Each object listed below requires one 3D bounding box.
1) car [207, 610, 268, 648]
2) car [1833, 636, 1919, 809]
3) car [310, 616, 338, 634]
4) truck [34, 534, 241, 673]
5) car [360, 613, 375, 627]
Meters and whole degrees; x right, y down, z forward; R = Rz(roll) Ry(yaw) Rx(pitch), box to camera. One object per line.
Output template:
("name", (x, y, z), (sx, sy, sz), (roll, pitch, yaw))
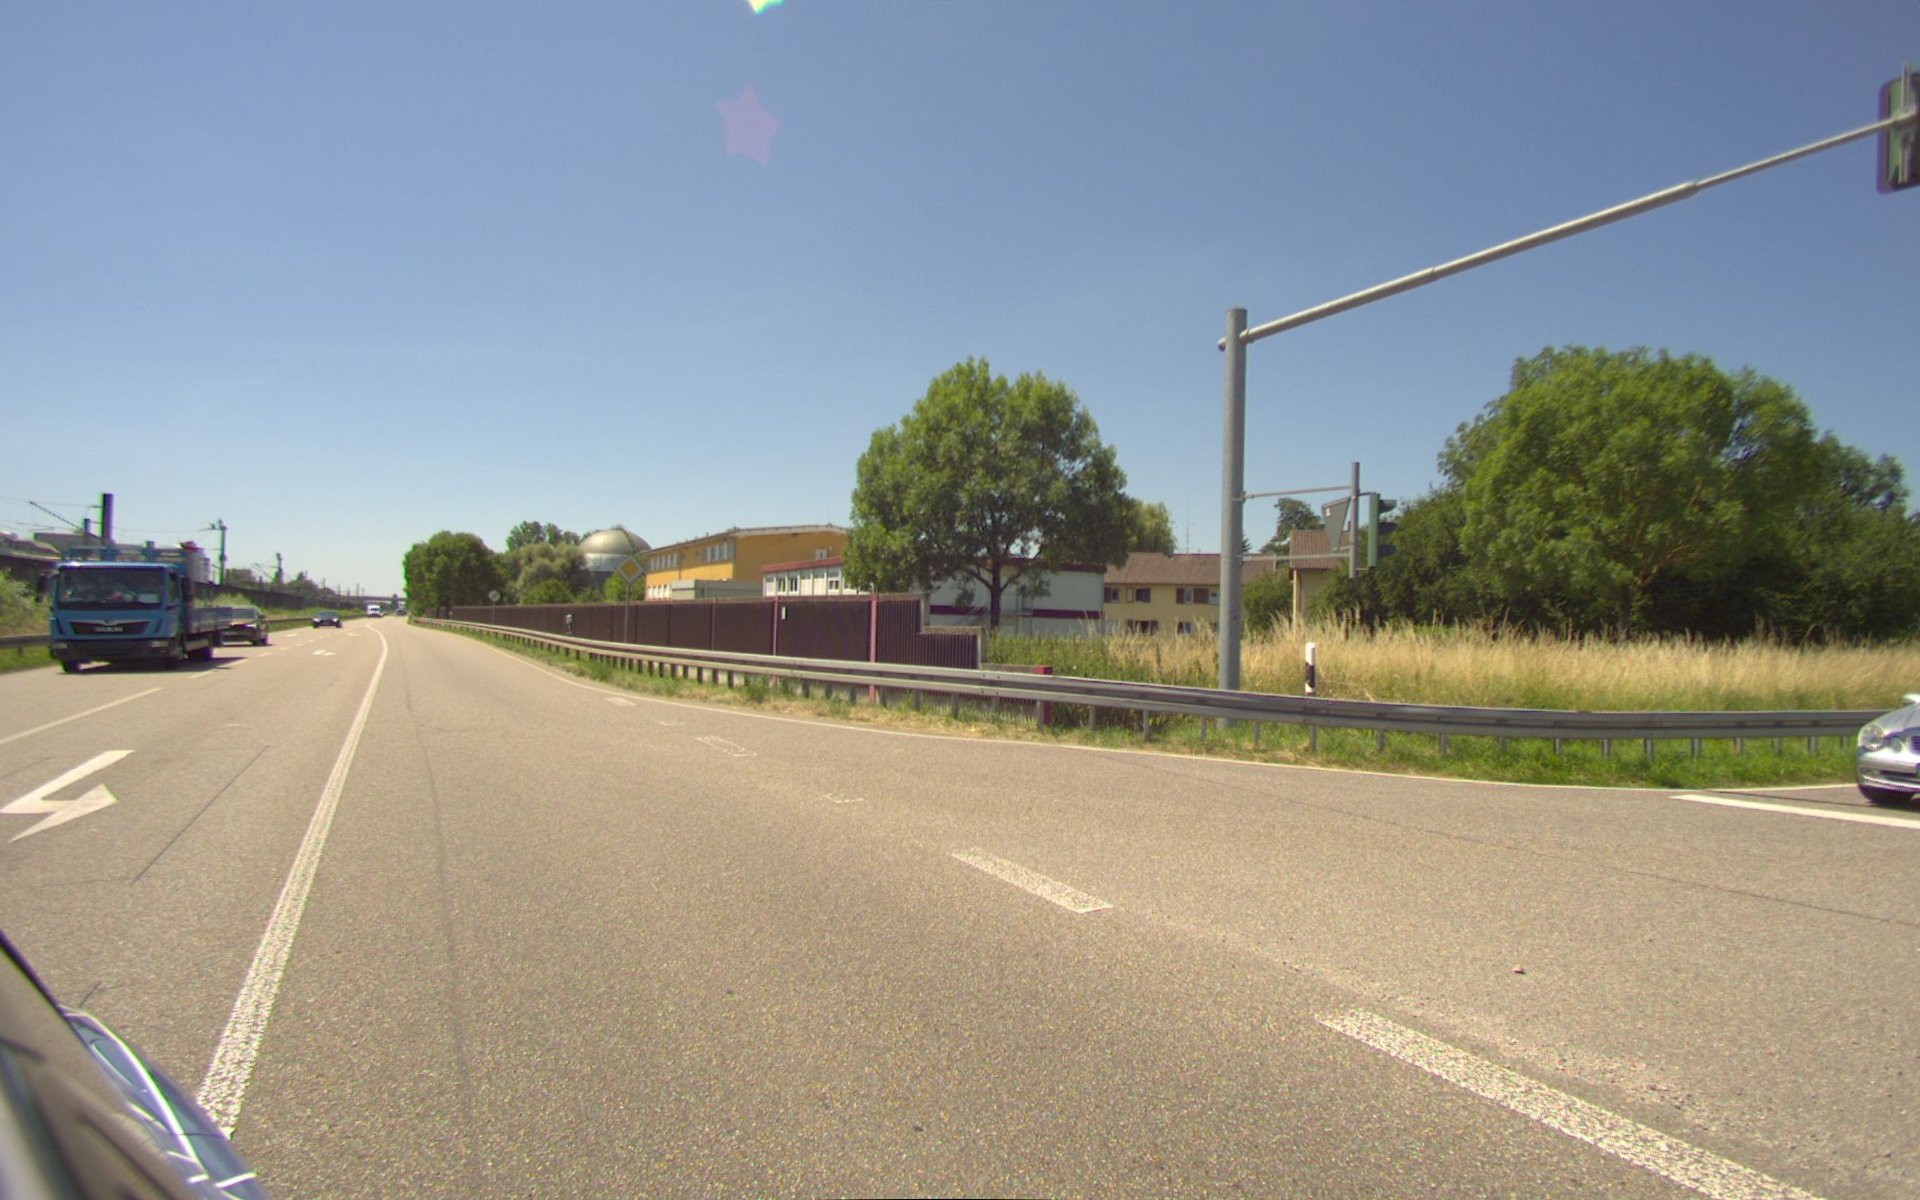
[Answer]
("car", (-29.790, 1.183, 41.796), (1.701, 1.484, 4.189), (1, -1, -31))
("car", (10.548, 1.095, 9.494), (4.884, 1.468, 1.883), (1, -1, -27))
("car", (-52.539, 2.042, 83.648), (1.701, 1.484, 3.901), (1, -1, -29))
("truck", (-21.914, 0.142, 27.629), (2.574, 3.064, 10.688), (1, -1, -30))
("car", (-112.656, 3.761, 192.440), (2.168, 2.579, 5.240), (1, -1, -29))
